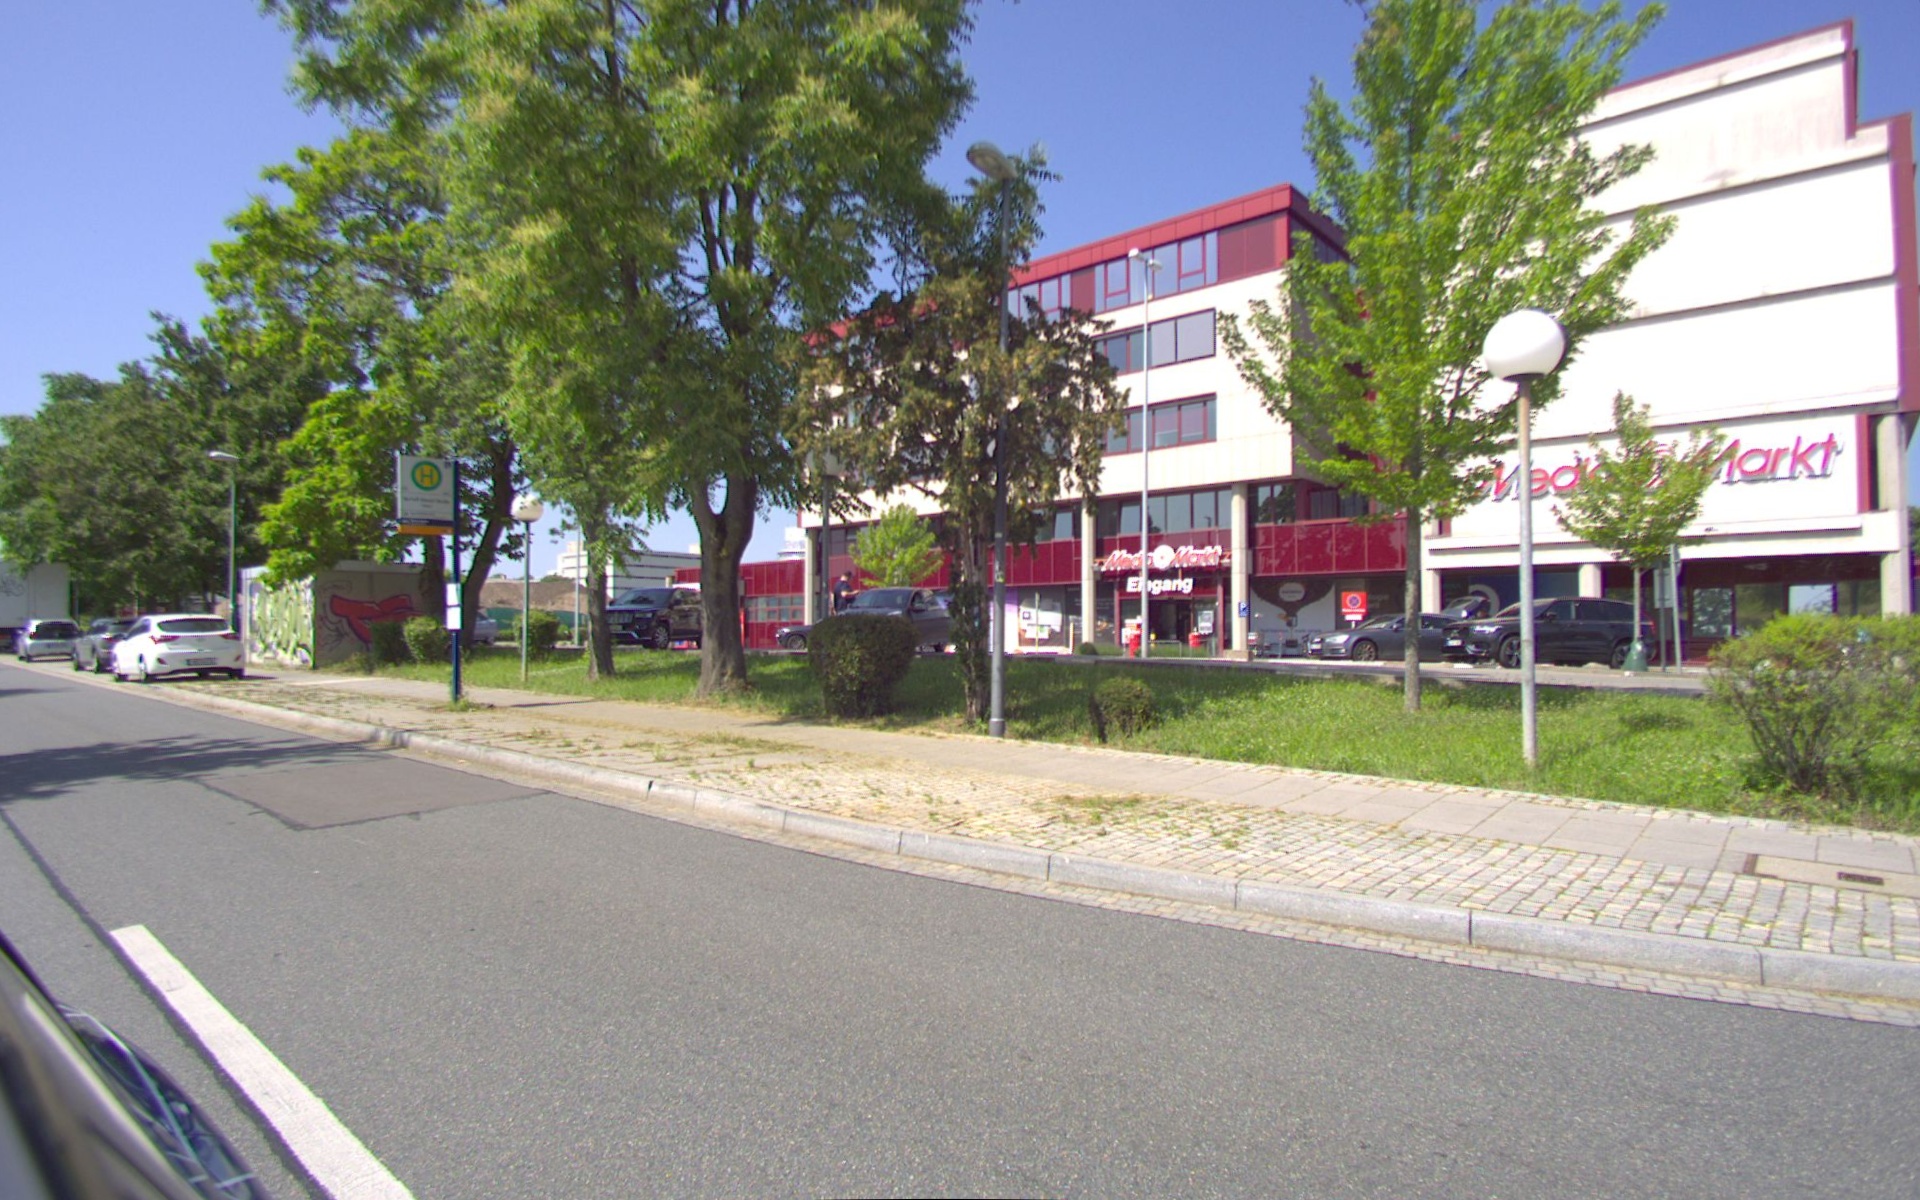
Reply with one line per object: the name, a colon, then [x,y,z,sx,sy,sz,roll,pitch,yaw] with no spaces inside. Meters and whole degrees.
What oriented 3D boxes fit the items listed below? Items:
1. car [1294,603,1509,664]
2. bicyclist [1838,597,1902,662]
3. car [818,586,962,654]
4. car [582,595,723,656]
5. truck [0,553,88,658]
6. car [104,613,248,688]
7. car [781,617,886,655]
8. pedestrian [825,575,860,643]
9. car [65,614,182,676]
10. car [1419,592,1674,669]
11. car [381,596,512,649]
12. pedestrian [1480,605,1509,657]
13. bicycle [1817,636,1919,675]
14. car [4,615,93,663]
car: [11.477,0.880,26.475,4.794,1.504,1.921,1,-2,-6]
bicyclist: [21.173,0.669,23.558,0.710,1.459,0.925,-1,0,-28]
car: [-1.426,0.408,22.215,1.705,1.348,3.964,-1,0,19]
car: [-8.212,0.639,27.507,1.831,1.504,4.805,-1,0,8]
truck: [-41.024,0.300,44.184,9.274,4.175,3.310,-2,-1,42]
car: [-17.496,1.067,22.533,3.997,1.504,1.743,-1,0,40]
car: [-5.151,1.460,41.442,4.174,1.462,1.725,0,-1,-6]
pedestrian: [-2.697,0.217,23.266,0.555,1.539,0.759,0,-2,-27]
car: [-22.827,1.192,27.571,3.997,1.527,1.792,-2,-1,40]
car: [13.848,0.777,24.043,5.031,1.606,2.192,2,-4,-12]
car: [-19.281,0.868,38.254,1.978,1.818,4.701,-2,-2,10]
pedestrian: [14.226,0.814,26.957,0.455,1.366,0.522,1,-2,-38]
bicycle: [21.208,1.272,23.508,0.716,0.799,1.849,-1,0,-28]
car: [-31.752,1.337,35.224,3.997,1.527,1.792,-2,-1,40]
